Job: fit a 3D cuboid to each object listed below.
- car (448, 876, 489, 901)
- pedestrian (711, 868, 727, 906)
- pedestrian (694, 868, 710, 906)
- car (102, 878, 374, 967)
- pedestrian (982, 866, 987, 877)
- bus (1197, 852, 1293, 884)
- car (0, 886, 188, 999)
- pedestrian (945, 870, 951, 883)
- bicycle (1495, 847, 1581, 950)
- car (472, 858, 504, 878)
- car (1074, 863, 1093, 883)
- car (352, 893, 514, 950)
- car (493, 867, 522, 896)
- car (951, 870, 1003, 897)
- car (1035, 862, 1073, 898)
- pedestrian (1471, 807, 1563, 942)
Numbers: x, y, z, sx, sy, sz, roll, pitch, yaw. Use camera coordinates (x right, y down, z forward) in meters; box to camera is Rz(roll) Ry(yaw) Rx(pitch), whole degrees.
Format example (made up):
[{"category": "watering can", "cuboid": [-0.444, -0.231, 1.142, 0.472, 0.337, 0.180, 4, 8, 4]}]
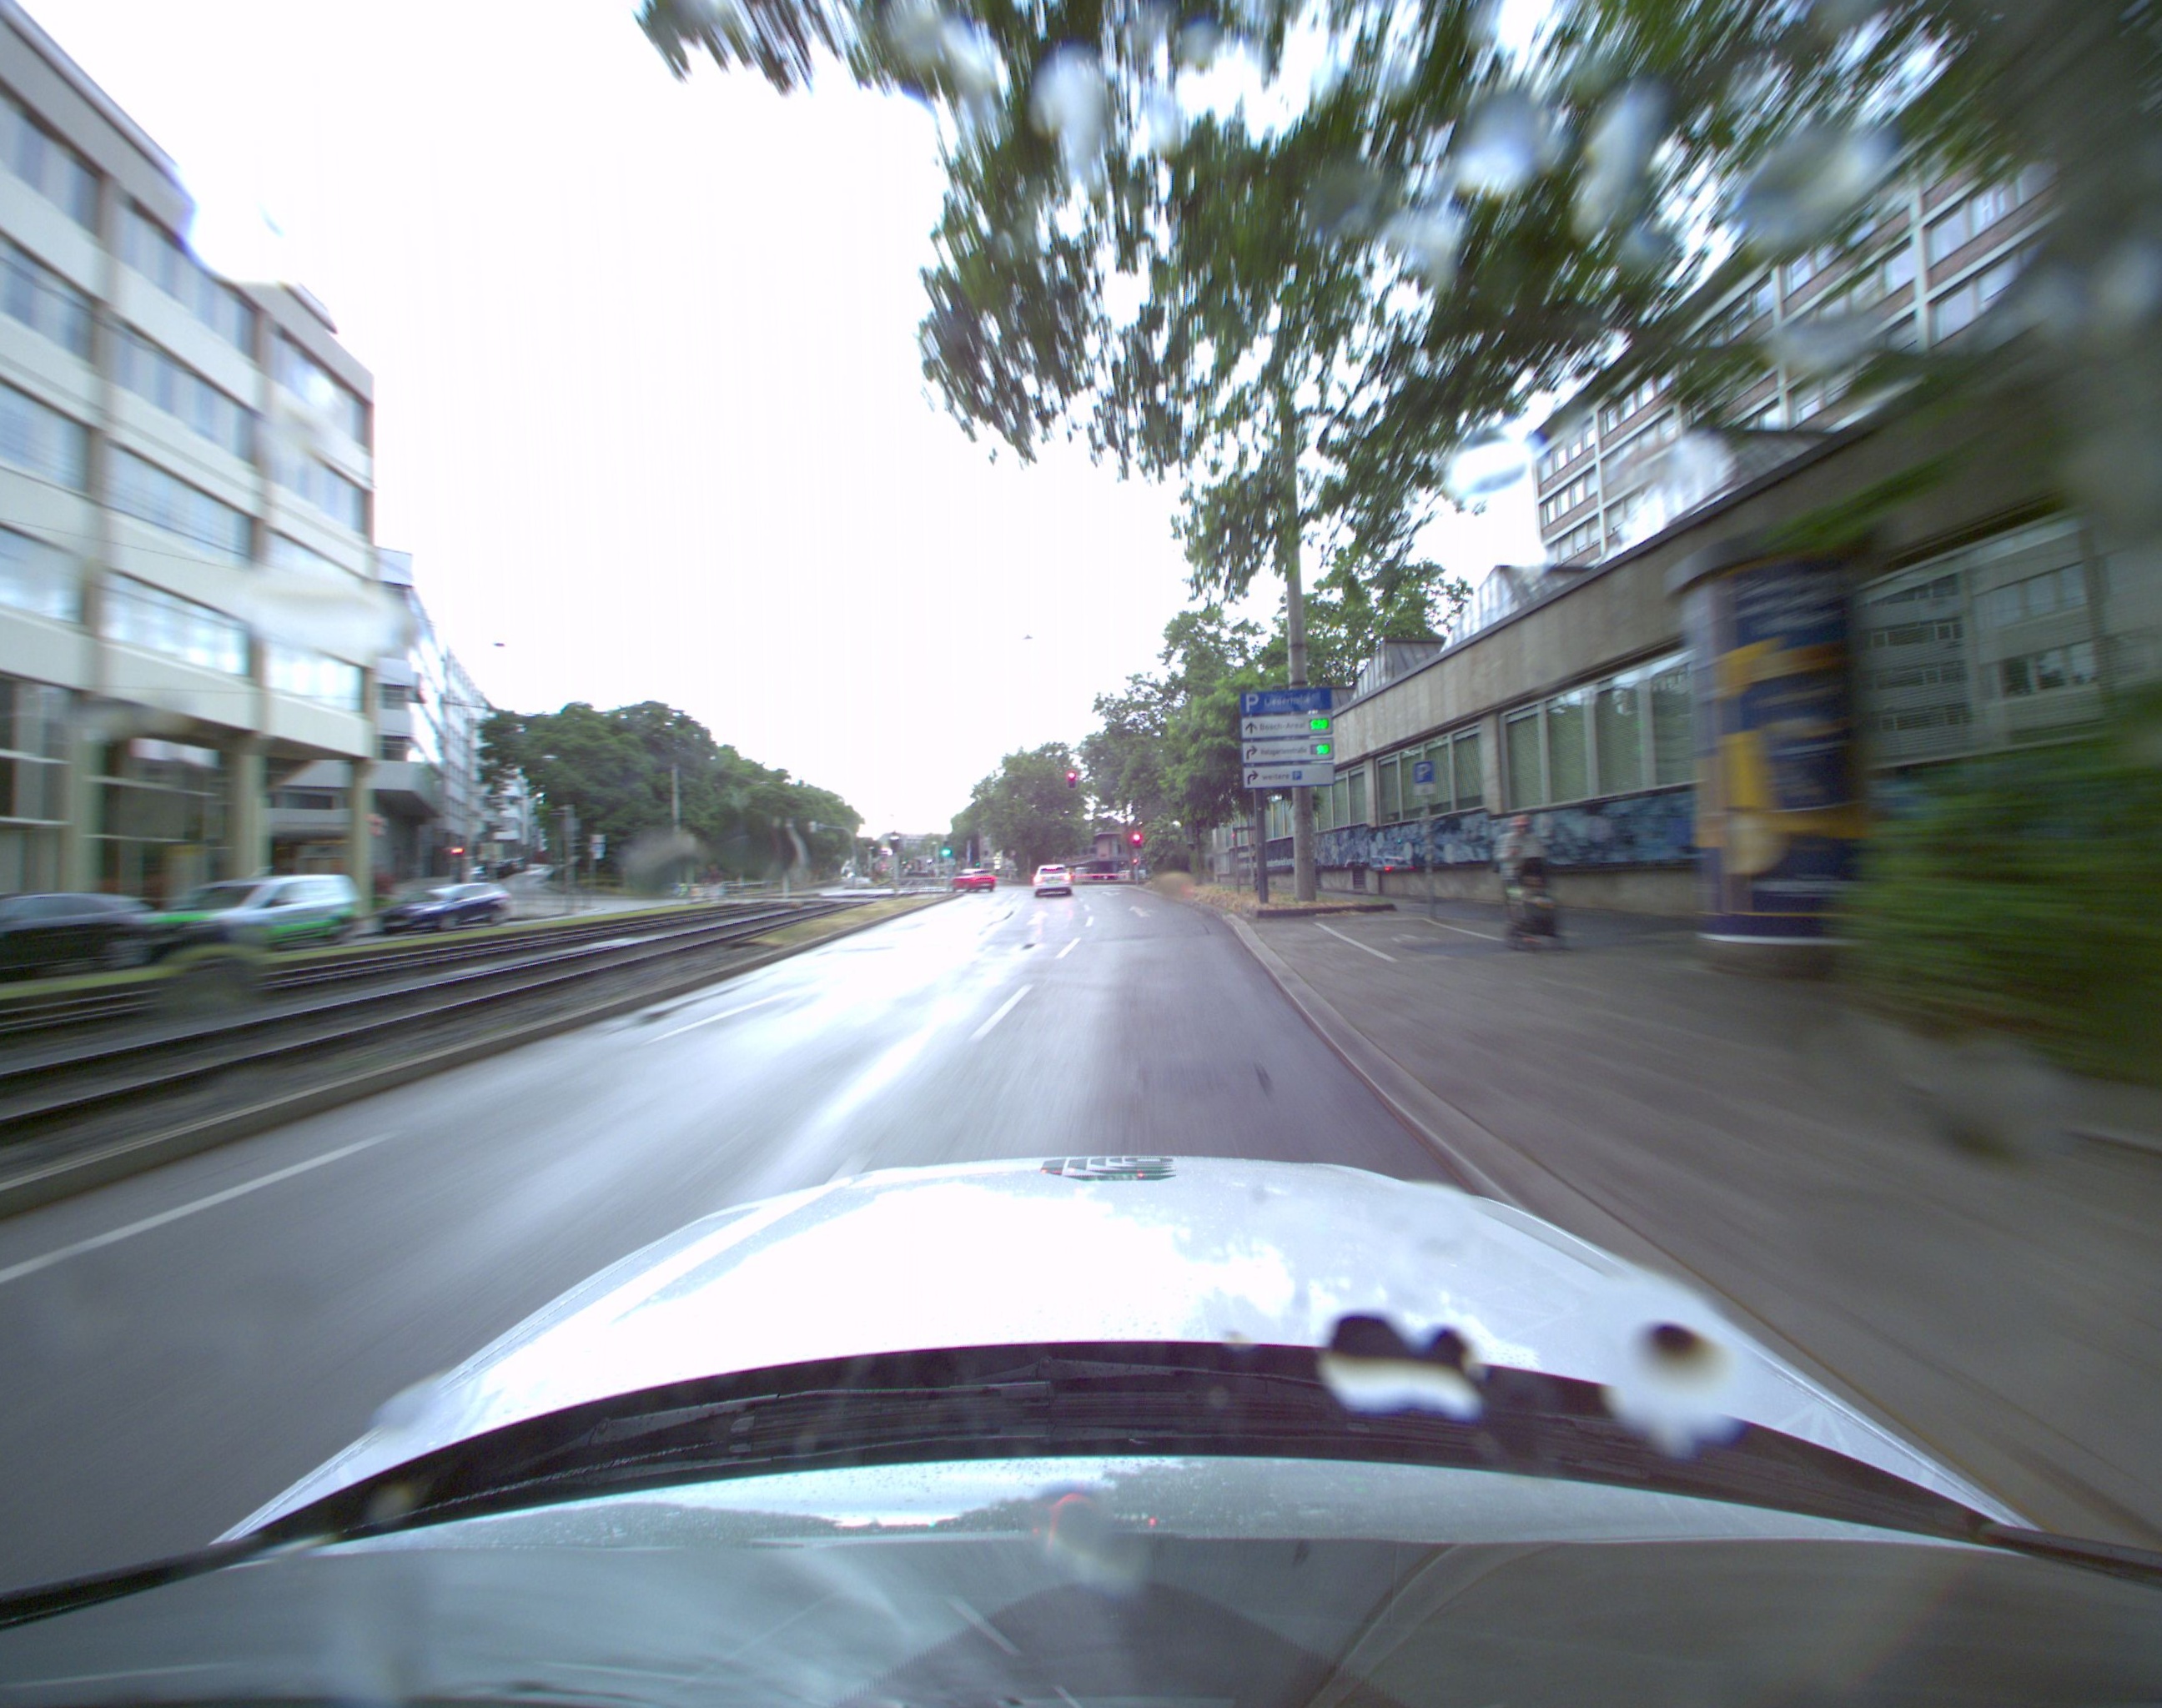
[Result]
[{"category": "car", "cuboid": [-44.702, 2.499, 59.402, 2.011, 1.794, 3.952, 2, -3, -42]}, {"category": "pedestrian", "cuboid": [-17.069, 1.543, 38.428, 0.642, 1.788, 0.804, 1, -3, -25]}, {"category": "pedestrian", "cuboid": [-18.152, 1.577, 39.011, 0.642, 1.788, 0.804, 1, -3, -25]}, {"category": "car", "cuboid": [-19.584, 1.502, 19.321, 1.993, 1.850, 4.679, 0, -2, -9]}, {"category": "pedestrian", "cuboid": [-16.034, 2.982, 135.855, 0.757, 1.824, 0.697, 1, -2, -15]}, {"category": "bus", "cuboid": [16.564, 1.416, 82.183, 9.443, 3.111, 2.544, 0, -2, -16]}, {"category": "car", "cuboid": [-19.116, 1.511, 14.357, 1.993, 1.850, 4.679, 0, -2, -9]}, {"category": "pedestrian", "cuboid": [-16.509, 2.818, 100.849, 0.738, 1.640, 0.867, 0, -2, -11]}, {"category": "bicycle", "cuboid": [5.768, 0.547, 10.328, 0.615, 1.221, 0.913, -3, -1, 9]}, {"category": "car", "cuboid": [-53.867, 1.302, 74.043, 2.006, 1.794, 4.168, 1, -2, -31]}, {"category": "car", "cuboid": [0.382, 3.053, 129.737, 2.542, 3.134, 5.018, 0, -2, -7]}, {"category": "car", "cuboid": [-20.348, 2.051, 25.878, 1.993, 1.582, 4.534, 0, -2, -9]}, {"category": "car", "cuboid": [-60.567, 2.919, 86.015, 2.006, 2.998, 4.169, 1, -2, -30]}, {"category": "car", "cuboid": [-6.557, 1.854, 50.984, 1.990, 1.640, 4.380, 1, -2, -25]}, {"category": "car", "cuboid": [-1.274, 1.193, 39.011, 1.674, 1.576, 4.250, -2, -1, -2]}, {"category": "pedestrian", "cuboid": [6.019, 0.265, 11.297, 0.714, 1.742, 1.022, -4, -1, 9]}]
